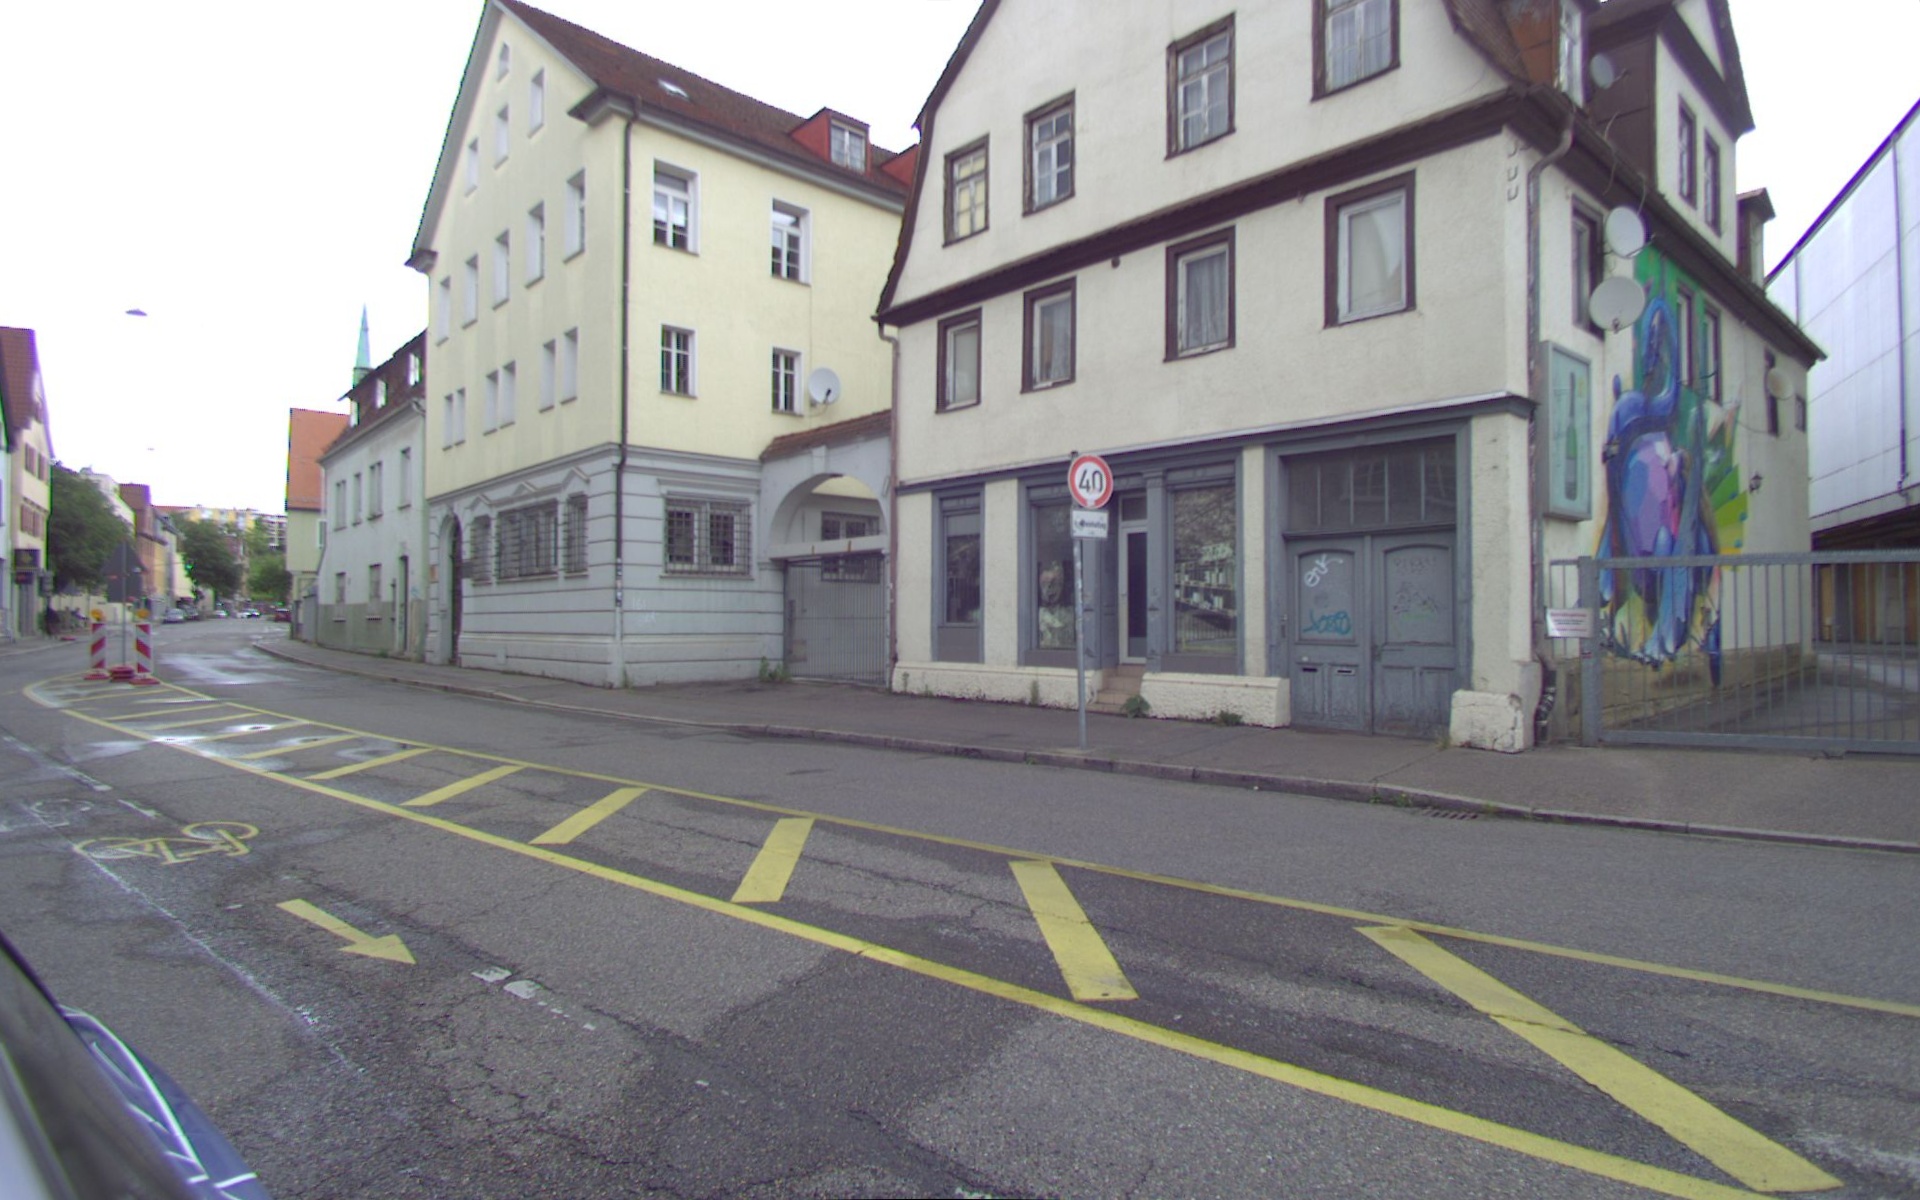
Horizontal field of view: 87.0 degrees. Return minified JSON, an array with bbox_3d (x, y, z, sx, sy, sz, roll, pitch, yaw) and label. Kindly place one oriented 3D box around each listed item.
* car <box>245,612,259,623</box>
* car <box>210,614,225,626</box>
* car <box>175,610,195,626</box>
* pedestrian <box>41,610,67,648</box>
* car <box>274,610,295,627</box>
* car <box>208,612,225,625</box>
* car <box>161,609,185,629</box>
[{"bbox_3d":[-134.996,3.303,193.012,1.967,2.029,4.009,1,-2,-37],"label":"car"},{"bbox_3d":[-123.336,3.339,168.067,1.967,2.029,4.009,1,-2,-37],"label":"car"},{"bbox_3d":[-97.037,2.267,126.757,1.967,2.029,4.009,1,-2,-37],"label":"car"},{"bbox_3d":[-46.238,1.455,51.651,0.864,1.914,0.899,1,-2,-36],"label":"pedestrian"},{"bbox_3d":[-85.659,2.349,128.360,2.027,2.029,4.009,1,-2,-37],"label":"car"},{"bbox_3d":[-114.763,2.883,156.225,1.967,2.029,4.009,1,-2,-37],"label":"car"},{"bbox_3d":[-84.788,2.076,109.045,1.967,2.029,4.009,1,-2,-37],"label":"car"}]
